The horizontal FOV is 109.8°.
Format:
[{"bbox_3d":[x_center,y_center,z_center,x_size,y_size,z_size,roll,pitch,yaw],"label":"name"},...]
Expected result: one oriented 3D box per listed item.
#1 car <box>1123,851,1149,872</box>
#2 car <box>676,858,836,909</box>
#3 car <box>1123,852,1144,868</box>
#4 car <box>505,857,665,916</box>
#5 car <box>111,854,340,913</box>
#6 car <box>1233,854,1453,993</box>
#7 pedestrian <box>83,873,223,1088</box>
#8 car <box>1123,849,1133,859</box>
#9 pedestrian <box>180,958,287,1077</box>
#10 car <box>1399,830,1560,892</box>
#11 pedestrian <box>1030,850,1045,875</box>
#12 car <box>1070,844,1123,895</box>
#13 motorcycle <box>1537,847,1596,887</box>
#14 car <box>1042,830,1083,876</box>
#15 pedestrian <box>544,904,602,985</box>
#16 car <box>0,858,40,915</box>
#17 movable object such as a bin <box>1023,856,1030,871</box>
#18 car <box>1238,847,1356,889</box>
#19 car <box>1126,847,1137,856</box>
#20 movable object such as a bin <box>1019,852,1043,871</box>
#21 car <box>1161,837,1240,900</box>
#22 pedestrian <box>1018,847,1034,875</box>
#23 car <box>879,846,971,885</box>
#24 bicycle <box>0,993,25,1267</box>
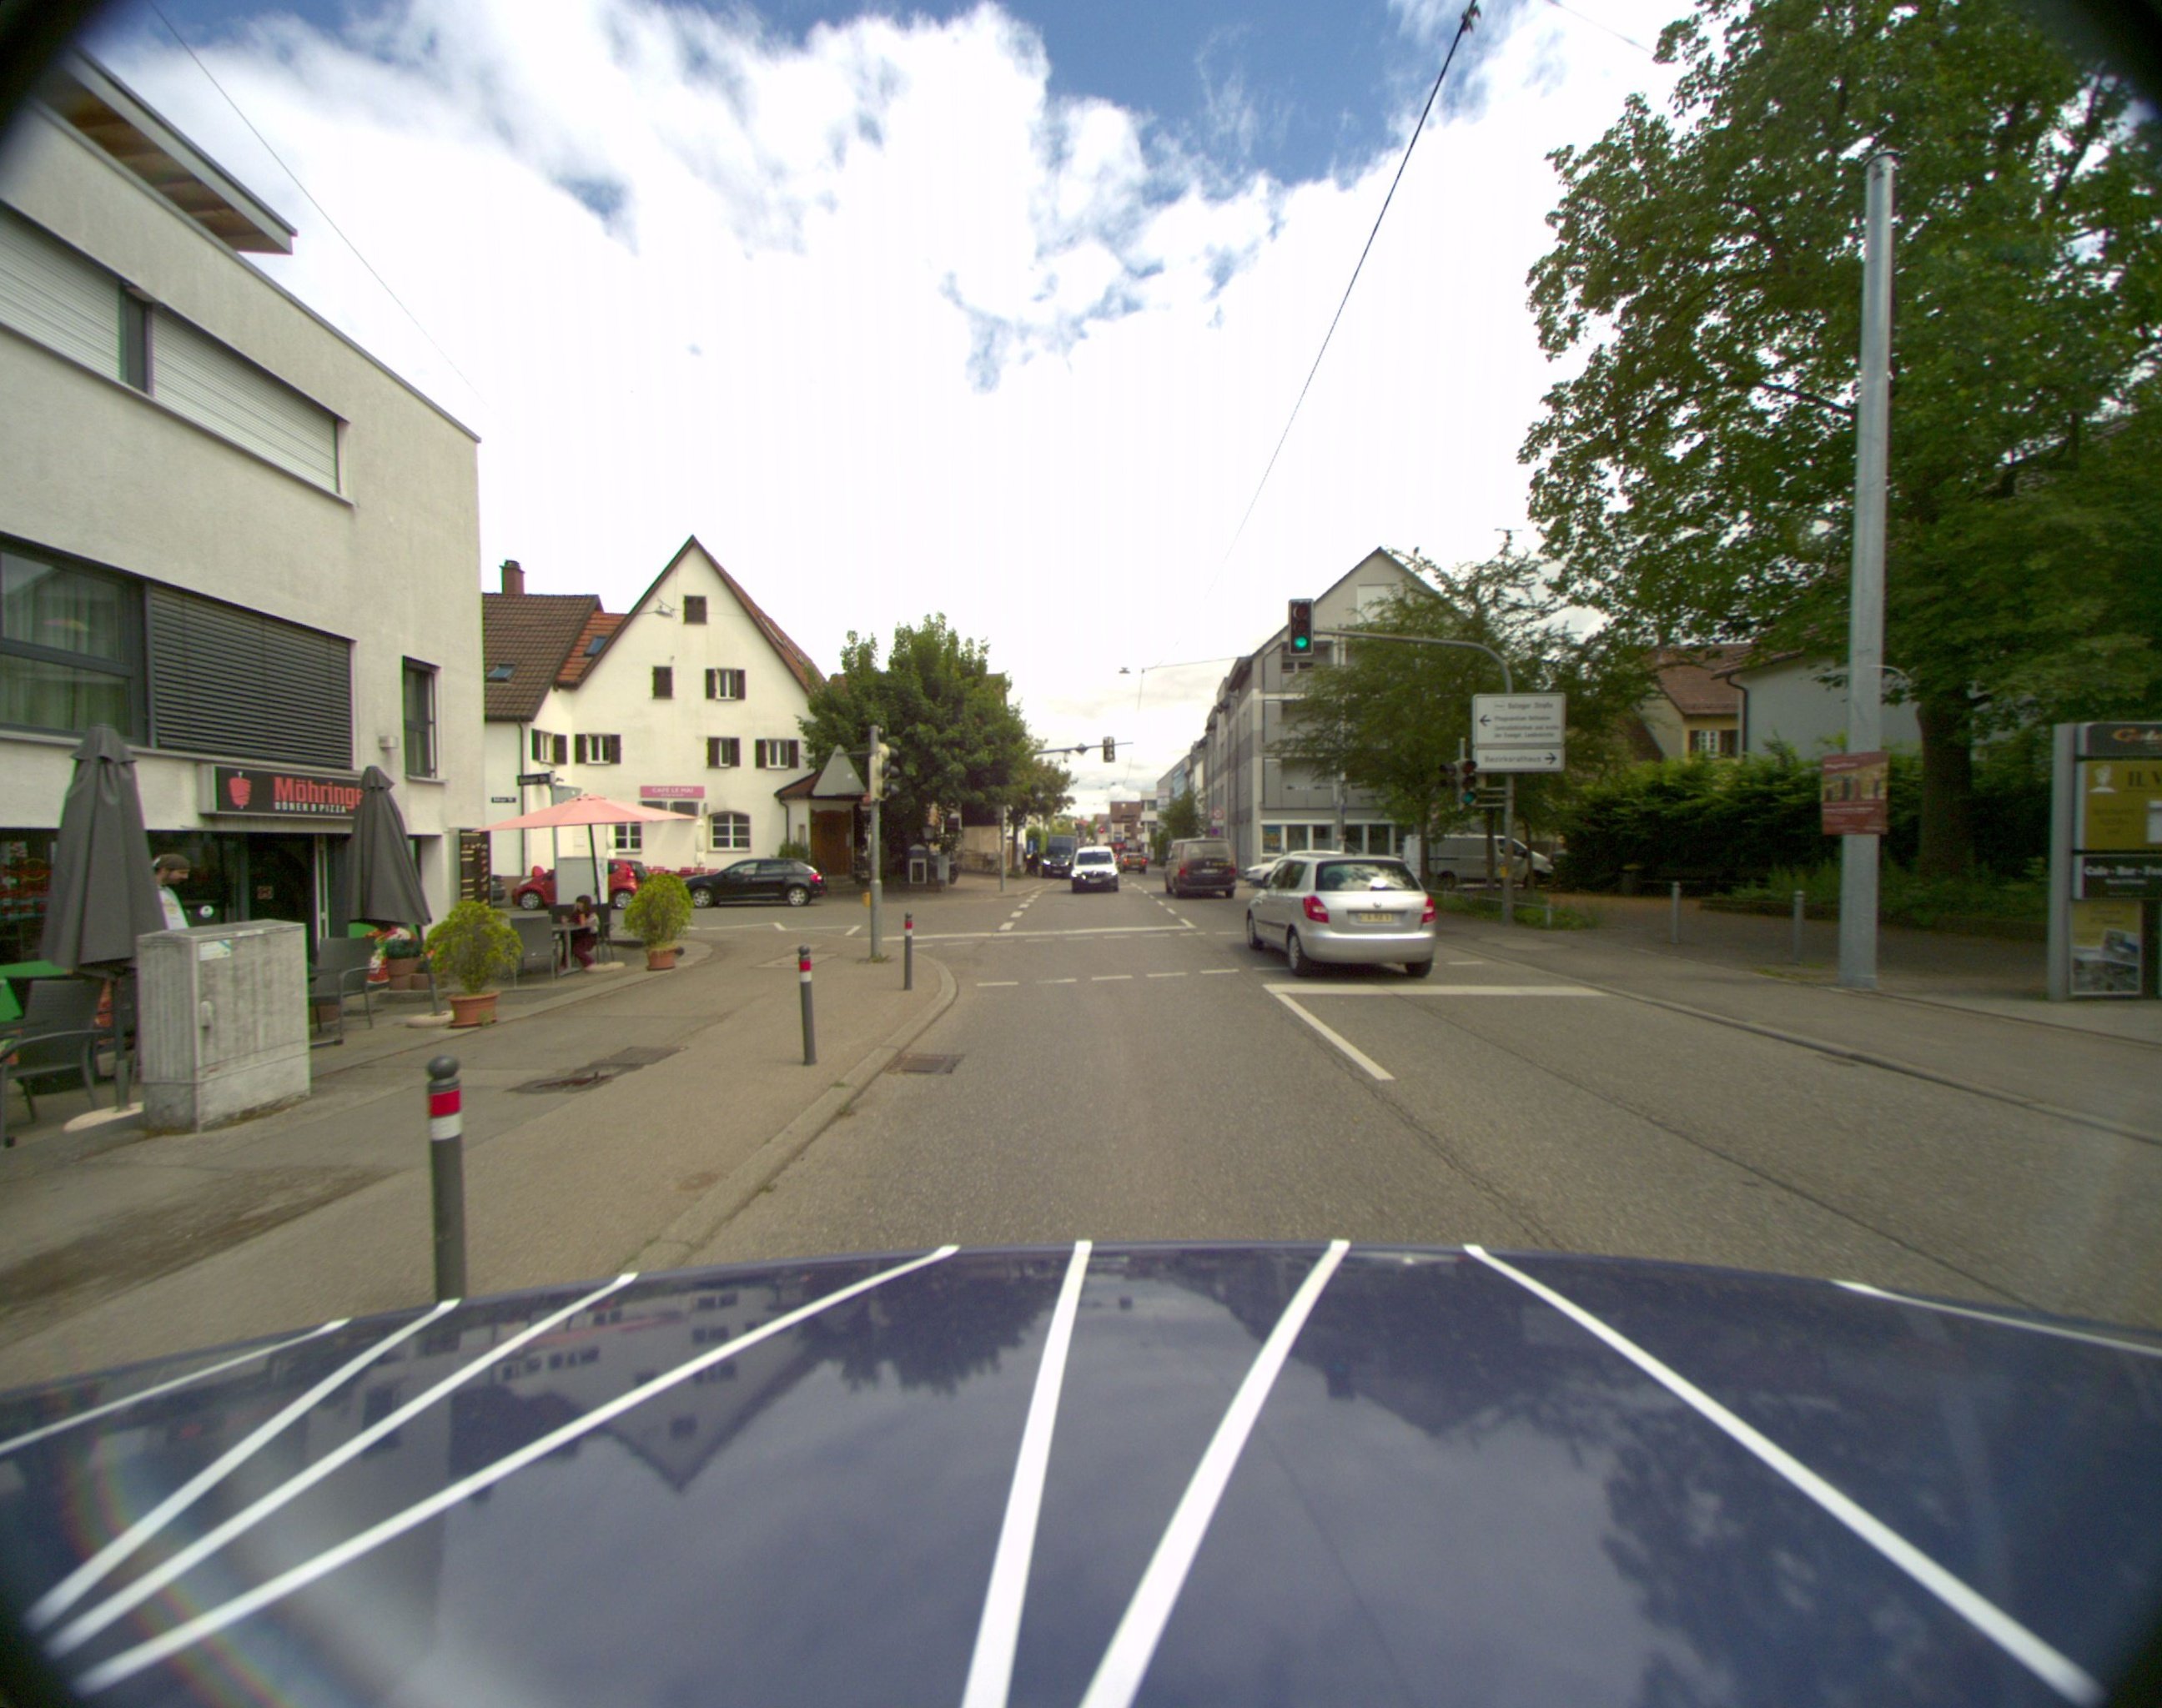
[{"bbox_3d":[4.161,0.536,58.072,1.732,1.529,4.000,-1,0,1],"label":"car"},{"bbox_3d":[-9.587,0.849,22.771,4.187,1.407,1.777,0,-1,-15],"label":"car"},{"bbox_3d":[5.081,0.576,73.701,1.879,1.416,4.115,-1,1,1],"label":"car"},{"bbox_3d":[-14.055,0.895,21.723,3.426,1.478,1.650,-1,1,-11],"label":"car"},{"bbox_3d":[-24.197,0.791,21.647,4.124,1.499,1.787,-1,1,-7],"label":"car"},{"bbox_3d":[3.278,0.767,10.297,1.621,1.478,3.812,-1,1,-1],"label":"car"},{"bbox_3d":[-8.122,1.064,6.681,0.429,1.752,0.674,-2,2,-19],"label":"pedestrian"},{"bbox_3d":[9.173,0.010,148.071,1.701,1.766,4.462,-1,1,7],"label":"car"},{"bbox_3d":[-7.628,1.454,6.857,0.420,0.933,0.497,-2,2,-19],"label":"pedestrian"},{"bbox_3d":[14.045,0.232,26.984,4.633,1.997,2.095,-2,1,-1],"label":"car"},{"bbox_3d":[-2.833,0.548,49.704,0.786,1.633,0.798,-1,1,7],"label":"pedestrian"},{"bbox_3d":[0.596,0.531,30.018,1.871,1.805,5.006,-1,1,1],"label":"car"},{"bbox_3d":[17.209,0.446,26.969,0.843,1.325,2.135,-1,1,4],"label":"motorcycle"},{"bbox_3d":[-1.139,-0.063,49.222,2.152,2.754,6.250,-1,1,3],"label":"car"},{"bbox_3d":[-7.524,1.321,11.275,0.568,1.082,0.633,-2,2,-23],"label":"pedestrian"},{"bbox_3d":[-29.830,0.891,19.431,4.035,1.438,1.509,-1,1,-3],"label":"car"},{"bbox_3d":[-3.600,0.633,50.241,0.410,0.933,0.273,3,1,-10],"label":"movable object such as a bin"},{"bbox_3d":[8.562,0.553,30.378,4.222,1.504,1.822,-1,0,1],"label":"car"},{"bbox_3d":[9.528,-0.485,143.273,1.808,1.521,4.001,-1,1,7],"label":"car"},{"bbox_3d":[-3.403,0.496,51.372,1.188,1.258,1.206,-1,1,-30],"label":"movable object such as a bin"},{"bbox_3d":[3.939,0.435,25.789,1.882,1.901,4.751,-1,1,0],"label":"car"},{"bbox_3d":[-3.498,0.453,48.367,0.741,1.772,0.900,-1,1,9],"label":"pedestrian"},{"bbox_3d":[-6.751,0.495,33.287,1.752,1.508,4.087,3,1,26],"label":"car"},{"bbox_3d":[-5.045,1.192,2.193,0.722,1.144,2.214,-1,1,7],"label":"bicycle"}]
